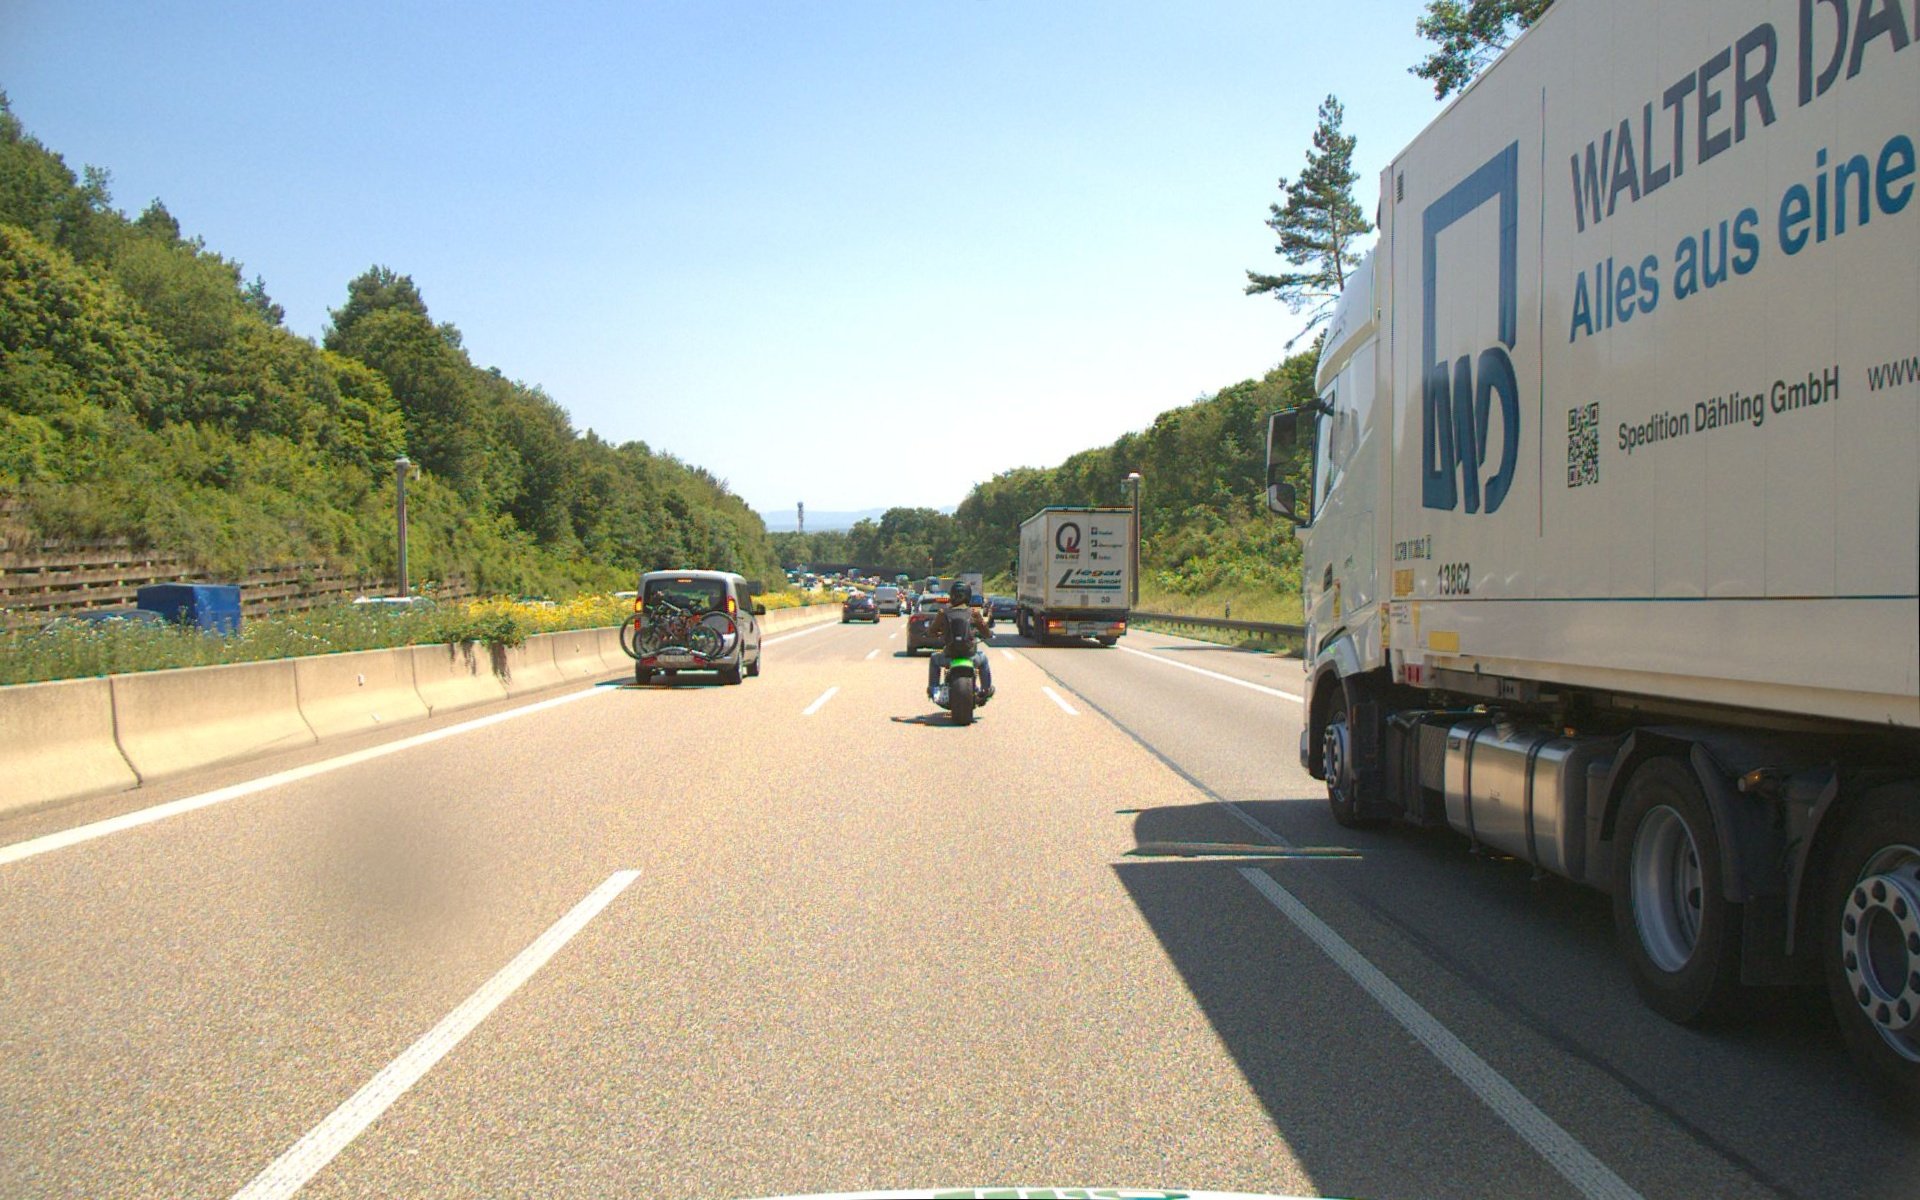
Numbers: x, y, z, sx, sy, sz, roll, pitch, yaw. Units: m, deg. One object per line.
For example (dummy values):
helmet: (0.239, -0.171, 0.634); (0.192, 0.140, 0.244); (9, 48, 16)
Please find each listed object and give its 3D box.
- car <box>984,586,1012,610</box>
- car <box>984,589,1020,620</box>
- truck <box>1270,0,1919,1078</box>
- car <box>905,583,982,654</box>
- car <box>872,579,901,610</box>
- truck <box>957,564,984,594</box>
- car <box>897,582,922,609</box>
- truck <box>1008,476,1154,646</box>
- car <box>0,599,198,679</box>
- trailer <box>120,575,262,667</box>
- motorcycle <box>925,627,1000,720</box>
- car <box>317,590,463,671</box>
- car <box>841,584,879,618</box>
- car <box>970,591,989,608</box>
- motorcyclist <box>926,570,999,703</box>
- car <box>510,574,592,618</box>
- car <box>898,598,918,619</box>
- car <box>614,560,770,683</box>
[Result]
car: (2.661, -0.171, 117.118); (1.794, 1.585, 4.119); (1, 1, -1)
car: (2.306, 0.224, 91.348); (1.794, 1.585, 4.119); (1, 1, -1)
truck: (3.816, -0.869, 7.666); (2.625, 4.130, 10.625); (1, 1, -1)
car: (-0.435, 0.417, 41.723); (1.808, 1.584, 4.439); (1, 2, -1)
car: (-4.773, -0.371, 107.619); (1.794, 1.842, 4.119); (1, 1, -1)
truck: (1.216, -2.544, 200.218); (3.005, 3.404, 9.651); (2, 1, -1)
car: (-3.814, -0.351, 124.890); (1.794, 1.842, 4.119); (1, 1, -1)
truck: (3.743, -1.303, 56.651); (3.314, 4.800, 17.707); (2, 1, -1)
car: (-19.019, 0.801, 36.439); (1.897, 1.548, 5.476); (-1, 1, 0)
trailer: (-18.970, 0.483, 40.962); (1.857, 2.154, 3.495); (-1, 0, 0)
motorcycle: (0.028, 0.853, 19.854); (0.844, 0.999, 2.131); (0, 1, 0)
car: (-11.905, 0.588, 34.830); (1.752, 1.548, 4.201); (-1, 1, -3)
car: (-5.026, 0.031, 83.469); (1.722, 1.570, 4.394); (1, 2, -1)
car: (2.064, -0.055, 176.218); (1.794, 1.585, 4.119); (1, 1, -1)
motorcyclist: (0.026, 0.421, 19.725); (0.838, 1.541, 0.914); (0, 0, 0)
car: (-14.932, -0.165, 60.605); (1.897, 1.548, 4.203); (-1, 1, 0)
car: (-4.976, 0.761, 157.997); (1.794, 1.842, 4.119); (1, 1, -1)
car: (-4.445, 0.298, 28.231); (1.860, 1.880, 5.482); (1, 1, -1)
